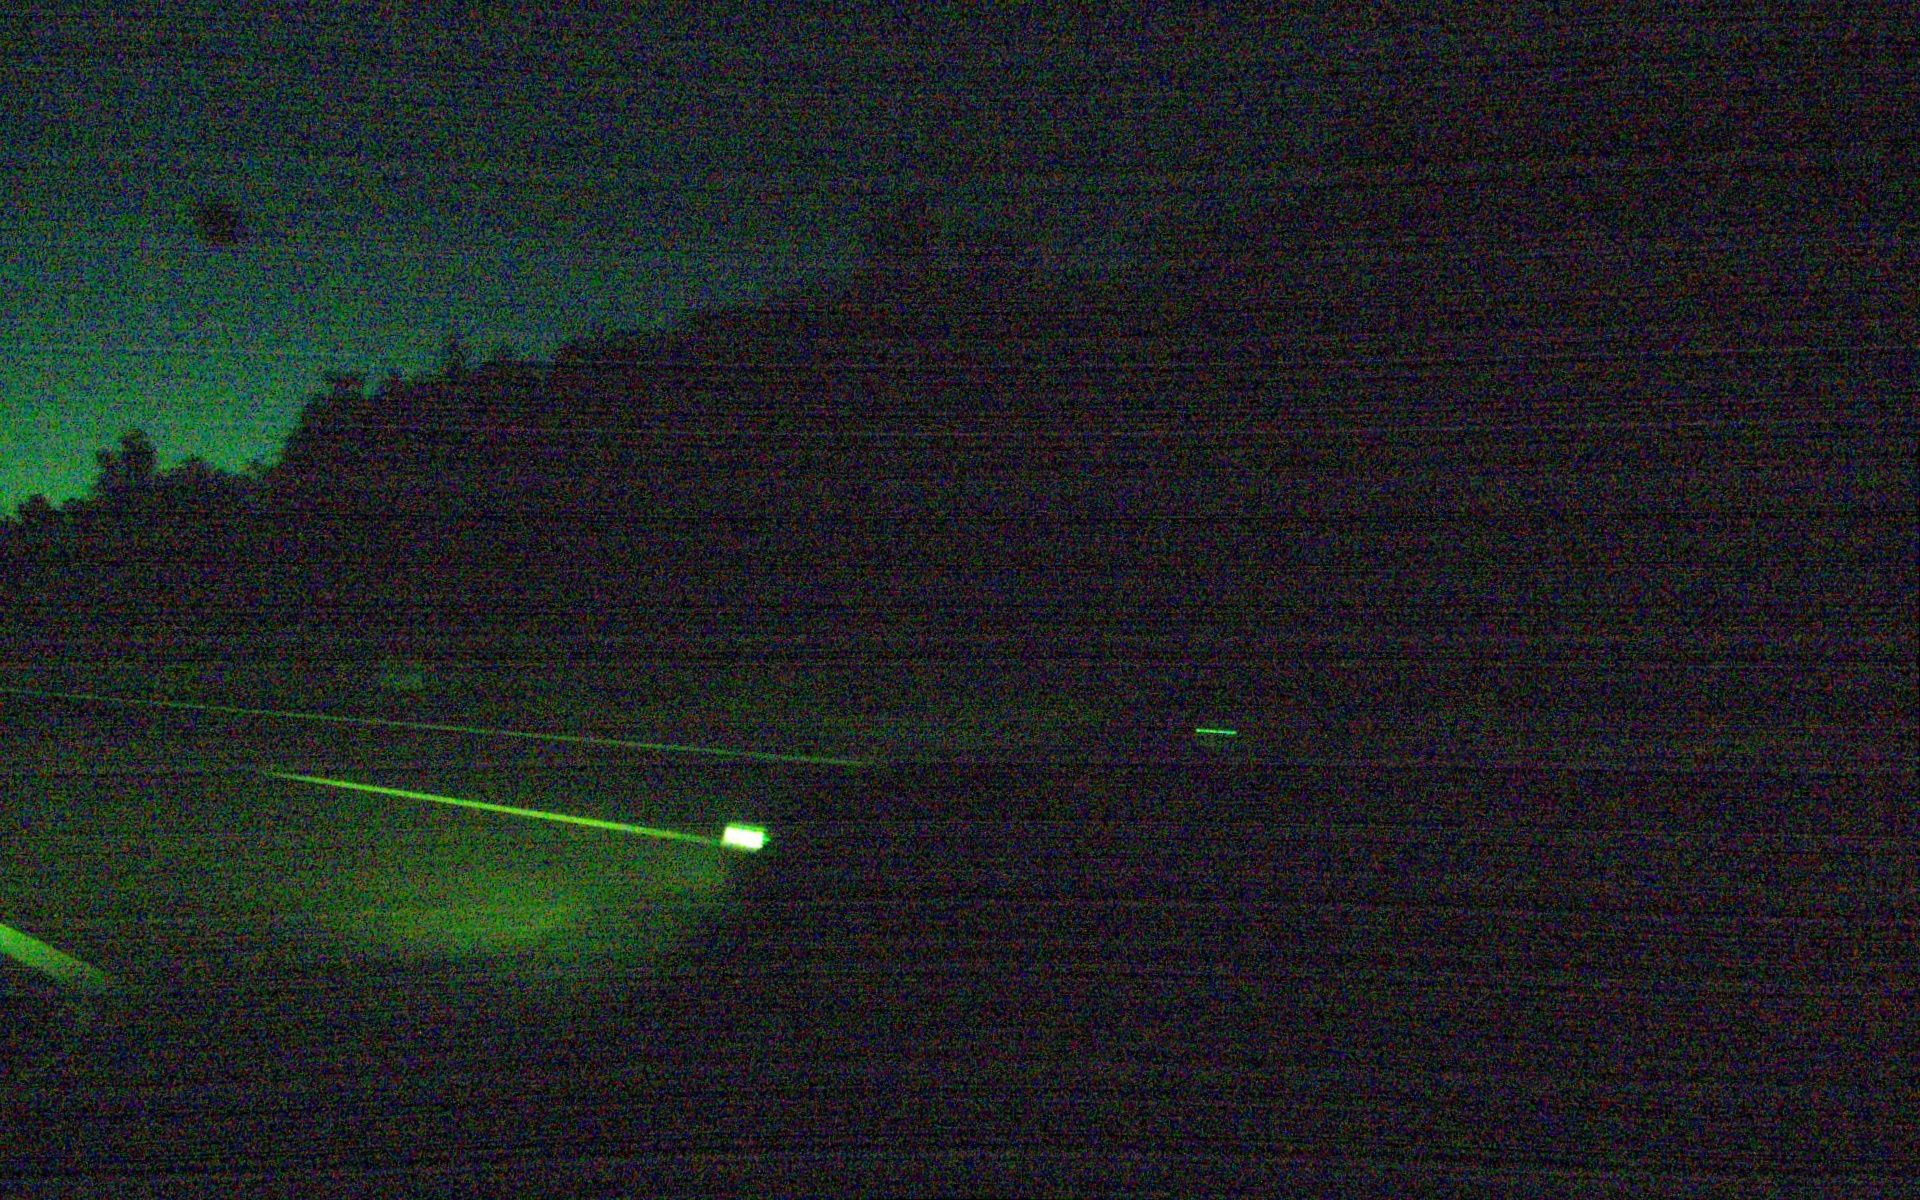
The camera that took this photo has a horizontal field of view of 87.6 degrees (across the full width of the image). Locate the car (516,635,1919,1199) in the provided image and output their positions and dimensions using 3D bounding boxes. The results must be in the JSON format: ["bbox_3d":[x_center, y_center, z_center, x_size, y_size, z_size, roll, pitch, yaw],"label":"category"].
[{"bbox_3d":[0.716,0.867,3.845,4.992,1.419,1.833,-1,-1,30],"label":"car"}]
